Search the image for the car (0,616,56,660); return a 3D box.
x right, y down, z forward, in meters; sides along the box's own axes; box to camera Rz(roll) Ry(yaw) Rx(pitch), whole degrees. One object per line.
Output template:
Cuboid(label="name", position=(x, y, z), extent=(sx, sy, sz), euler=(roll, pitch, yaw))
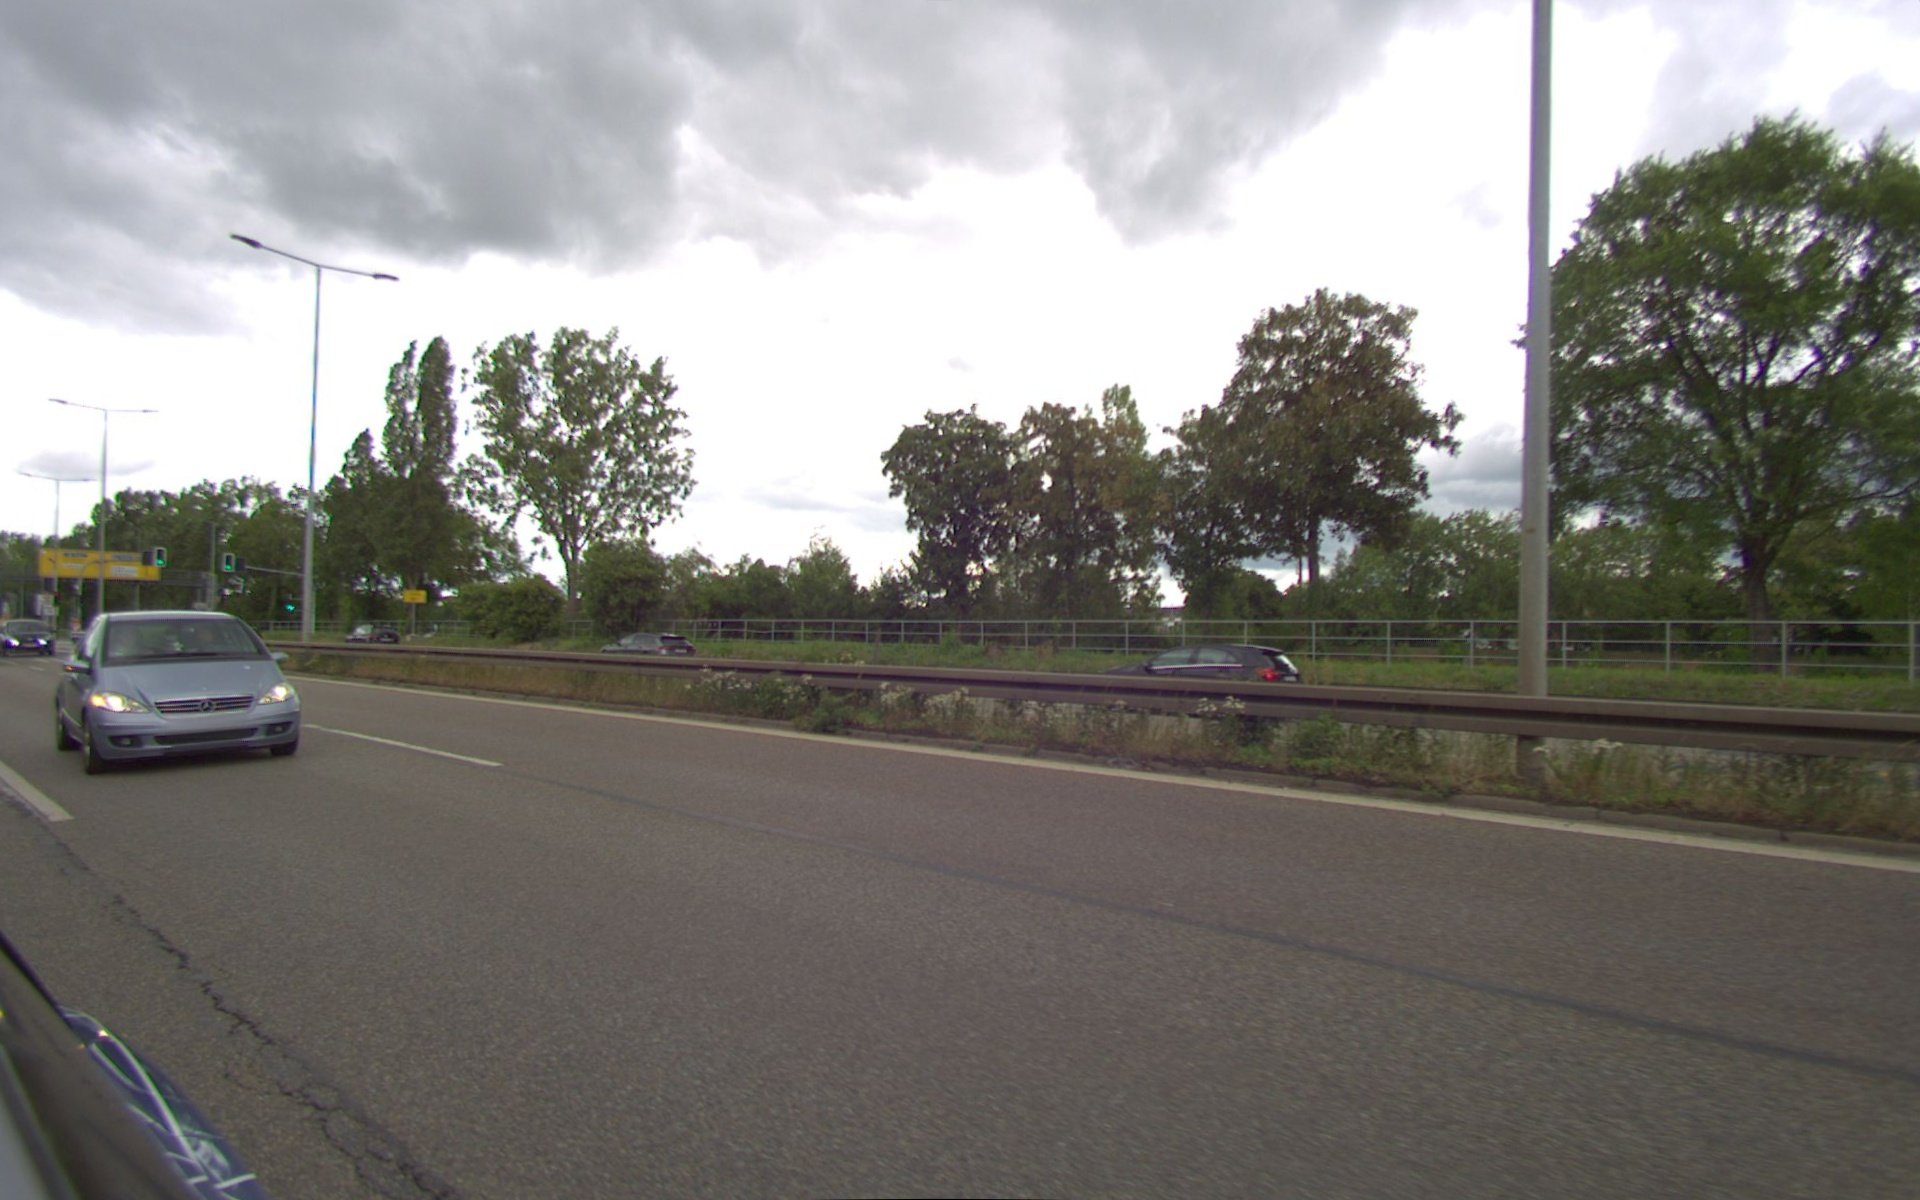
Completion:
Cuboid(label="car", position=(-39.292, 1.567, 42.145), extent=(4.143, 1.738, 1.859), euler=(-2, -3, 40))

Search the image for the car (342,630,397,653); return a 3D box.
Cuboid(label="car", position=(-34.636, 2.447, 59.305), extent=(4.059, 1.309, 1.562), euler=(-2, -3, 41))

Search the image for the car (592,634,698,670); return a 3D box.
Cuboid(label="car", position=(-12.311, 1.993, 39.451), extent=(4.784, 1.309, 1.643), euler=(-2, -3, 40))

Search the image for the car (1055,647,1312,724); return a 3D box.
Cuboid(label="car", position=(4.314, 1.613, 20.083), extent=(4.784, 1.309, 1.643), euler=(-2, -3, 40))

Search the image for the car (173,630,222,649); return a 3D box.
Cuboid(label="car", position=(-45.670, 2.360, 60.610), extent=(4.064, 1.114, 1.529), euler=(-2, -3, 41))

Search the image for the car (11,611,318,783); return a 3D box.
Cuboid(label="car", position=(-8.895, 0.949, 11.205), extent=(4.143, 1.551, 1.859), euler=(-2, -3, 40))
